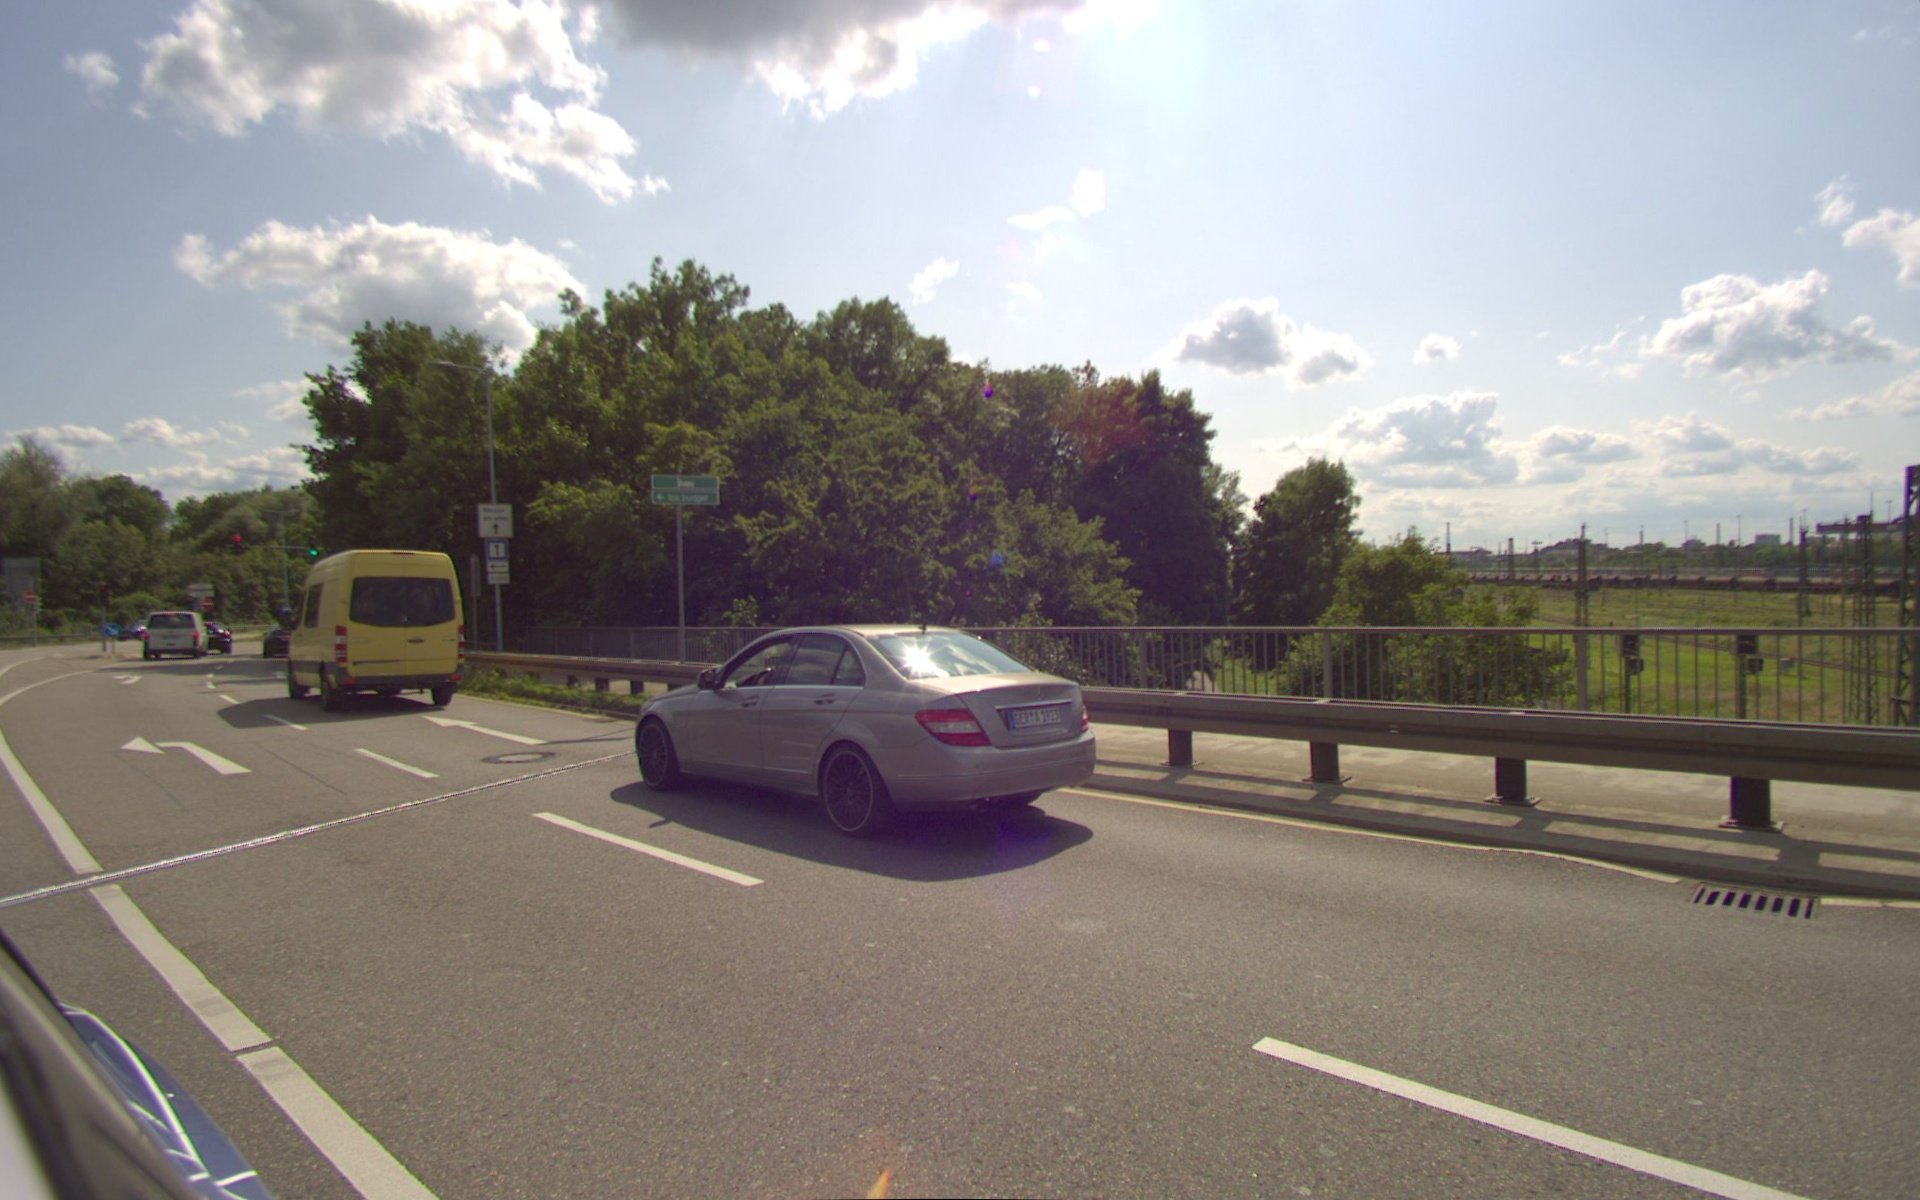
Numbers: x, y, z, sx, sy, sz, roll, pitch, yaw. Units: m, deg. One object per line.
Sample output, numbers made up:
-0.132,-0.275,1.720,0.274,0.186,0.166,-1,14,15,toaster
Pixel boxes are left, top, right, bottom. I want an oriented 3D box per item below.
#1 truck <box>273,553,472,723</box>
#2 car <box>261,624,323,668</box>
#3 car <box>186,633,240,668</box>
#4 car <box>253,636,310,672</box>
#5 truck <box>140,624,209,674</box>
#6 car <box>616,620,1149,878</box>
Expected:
-11.030,0.707,18.730,1.969,2.641,6.111,2,-3,-41,truck
-31.508,2.137,47.858,1.965,1.928,5.148,0,-2,-28,car
-35.744,2.395,48.389,1.677,1.569,3.826,0,-1,-42,car
-28.929,2.268,43.247,1.773,1.400,4.018,0,-1,-31,car
-32.915,2.008,42.517,1.934,1.927,5.384,0,-1,-34,truck
-0.841,0.906,7.934,4.338,1.460,1.728,-2,-1,44,car
